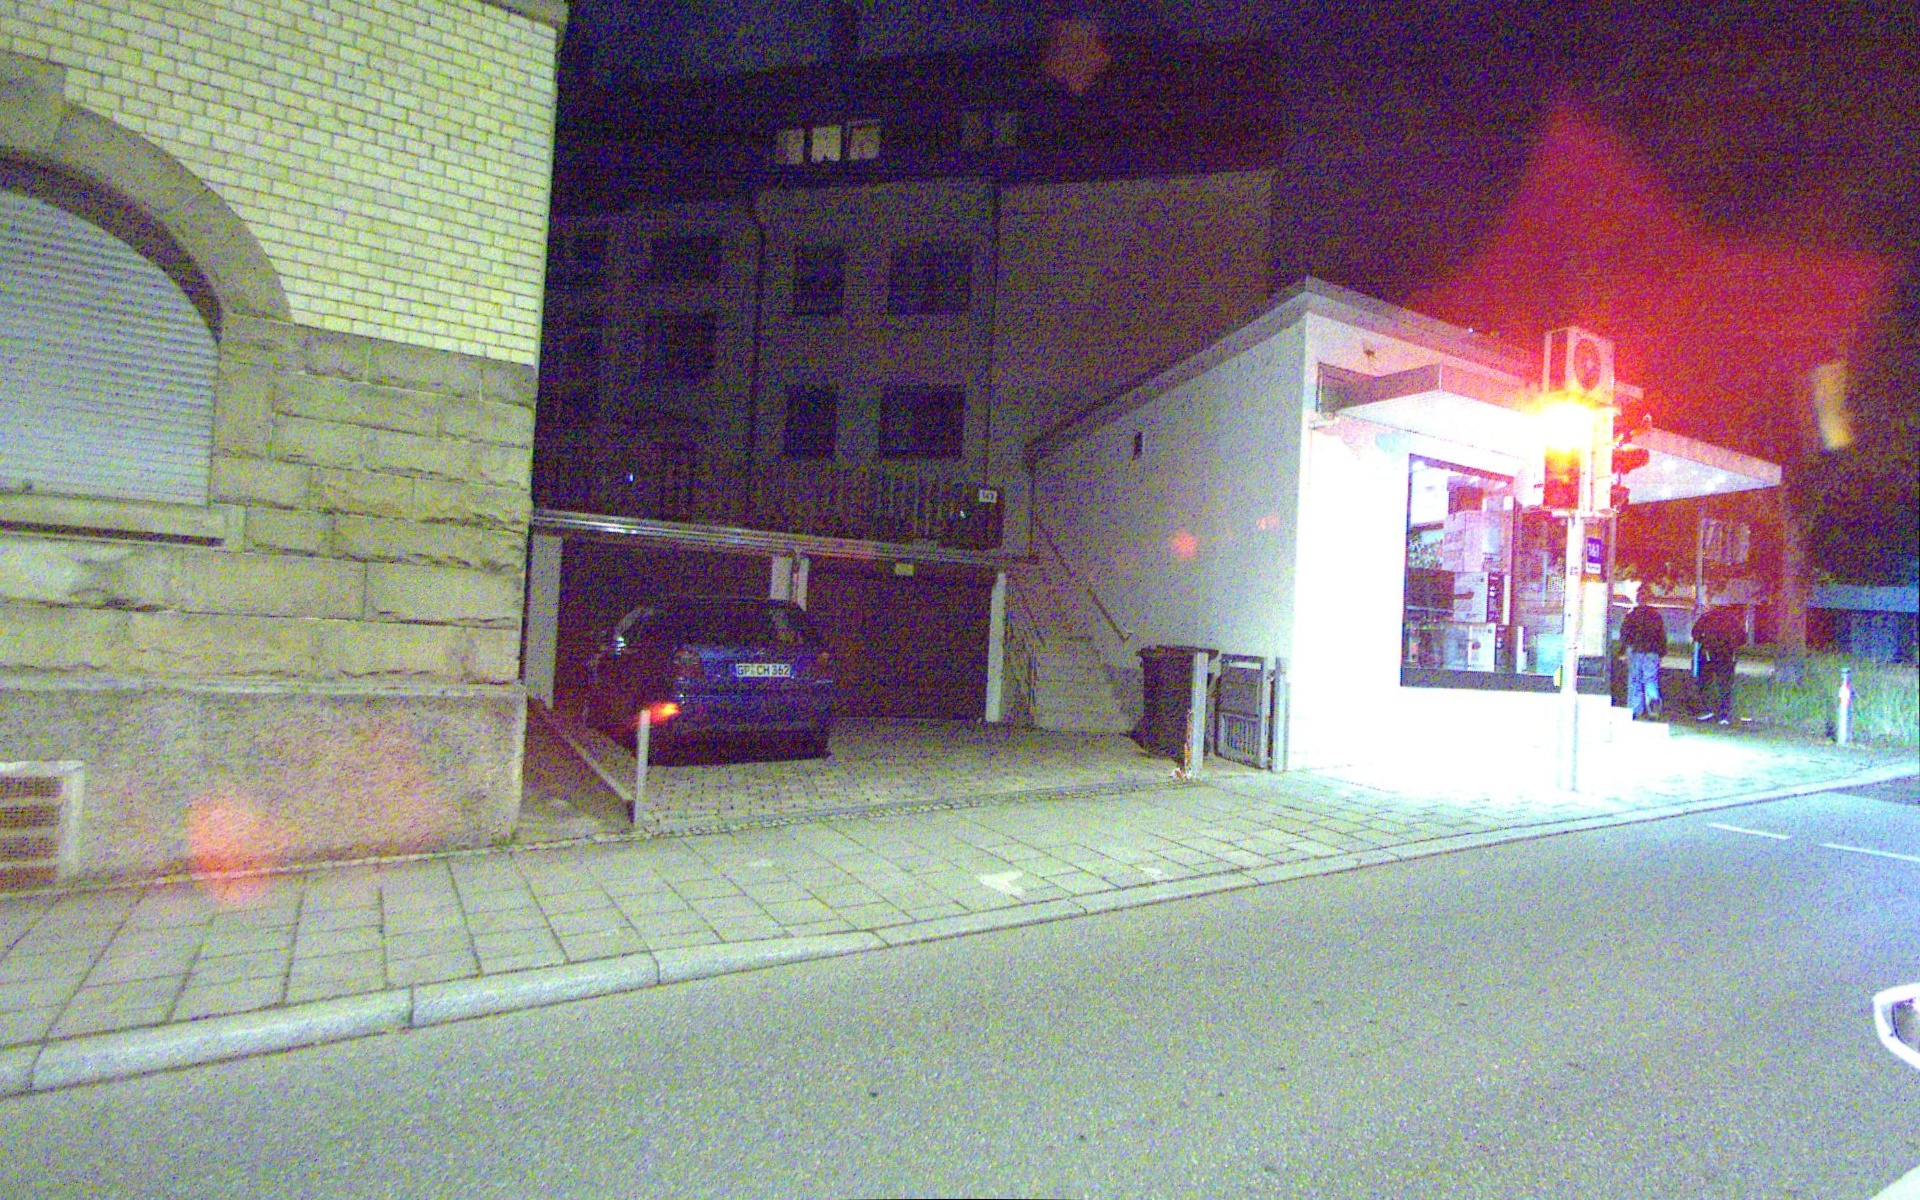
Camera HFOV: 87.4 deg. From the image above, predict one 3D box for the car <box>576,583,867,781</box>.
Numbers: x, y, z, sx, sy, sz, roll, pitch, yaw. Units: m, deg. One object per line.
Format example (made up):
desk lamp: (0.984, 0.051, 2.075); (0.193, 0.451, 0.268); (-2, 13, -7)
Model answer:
car: (-2.440, 0.617, 9.582); (1.700, 1.460, 3.631); (2, 0, -30)

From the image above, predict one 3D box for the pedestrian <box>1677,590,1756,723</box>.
pedestrian: (10.603, 0.779, 14.083); (0.729, 1.801, 0.567); (2, 2, -30)

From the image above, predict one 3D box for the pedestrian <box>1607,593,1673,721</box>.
pedestrian: (9.617, 0.789, 14.211); (0.537, 1.754, 0.567); (2, 0, -30)
